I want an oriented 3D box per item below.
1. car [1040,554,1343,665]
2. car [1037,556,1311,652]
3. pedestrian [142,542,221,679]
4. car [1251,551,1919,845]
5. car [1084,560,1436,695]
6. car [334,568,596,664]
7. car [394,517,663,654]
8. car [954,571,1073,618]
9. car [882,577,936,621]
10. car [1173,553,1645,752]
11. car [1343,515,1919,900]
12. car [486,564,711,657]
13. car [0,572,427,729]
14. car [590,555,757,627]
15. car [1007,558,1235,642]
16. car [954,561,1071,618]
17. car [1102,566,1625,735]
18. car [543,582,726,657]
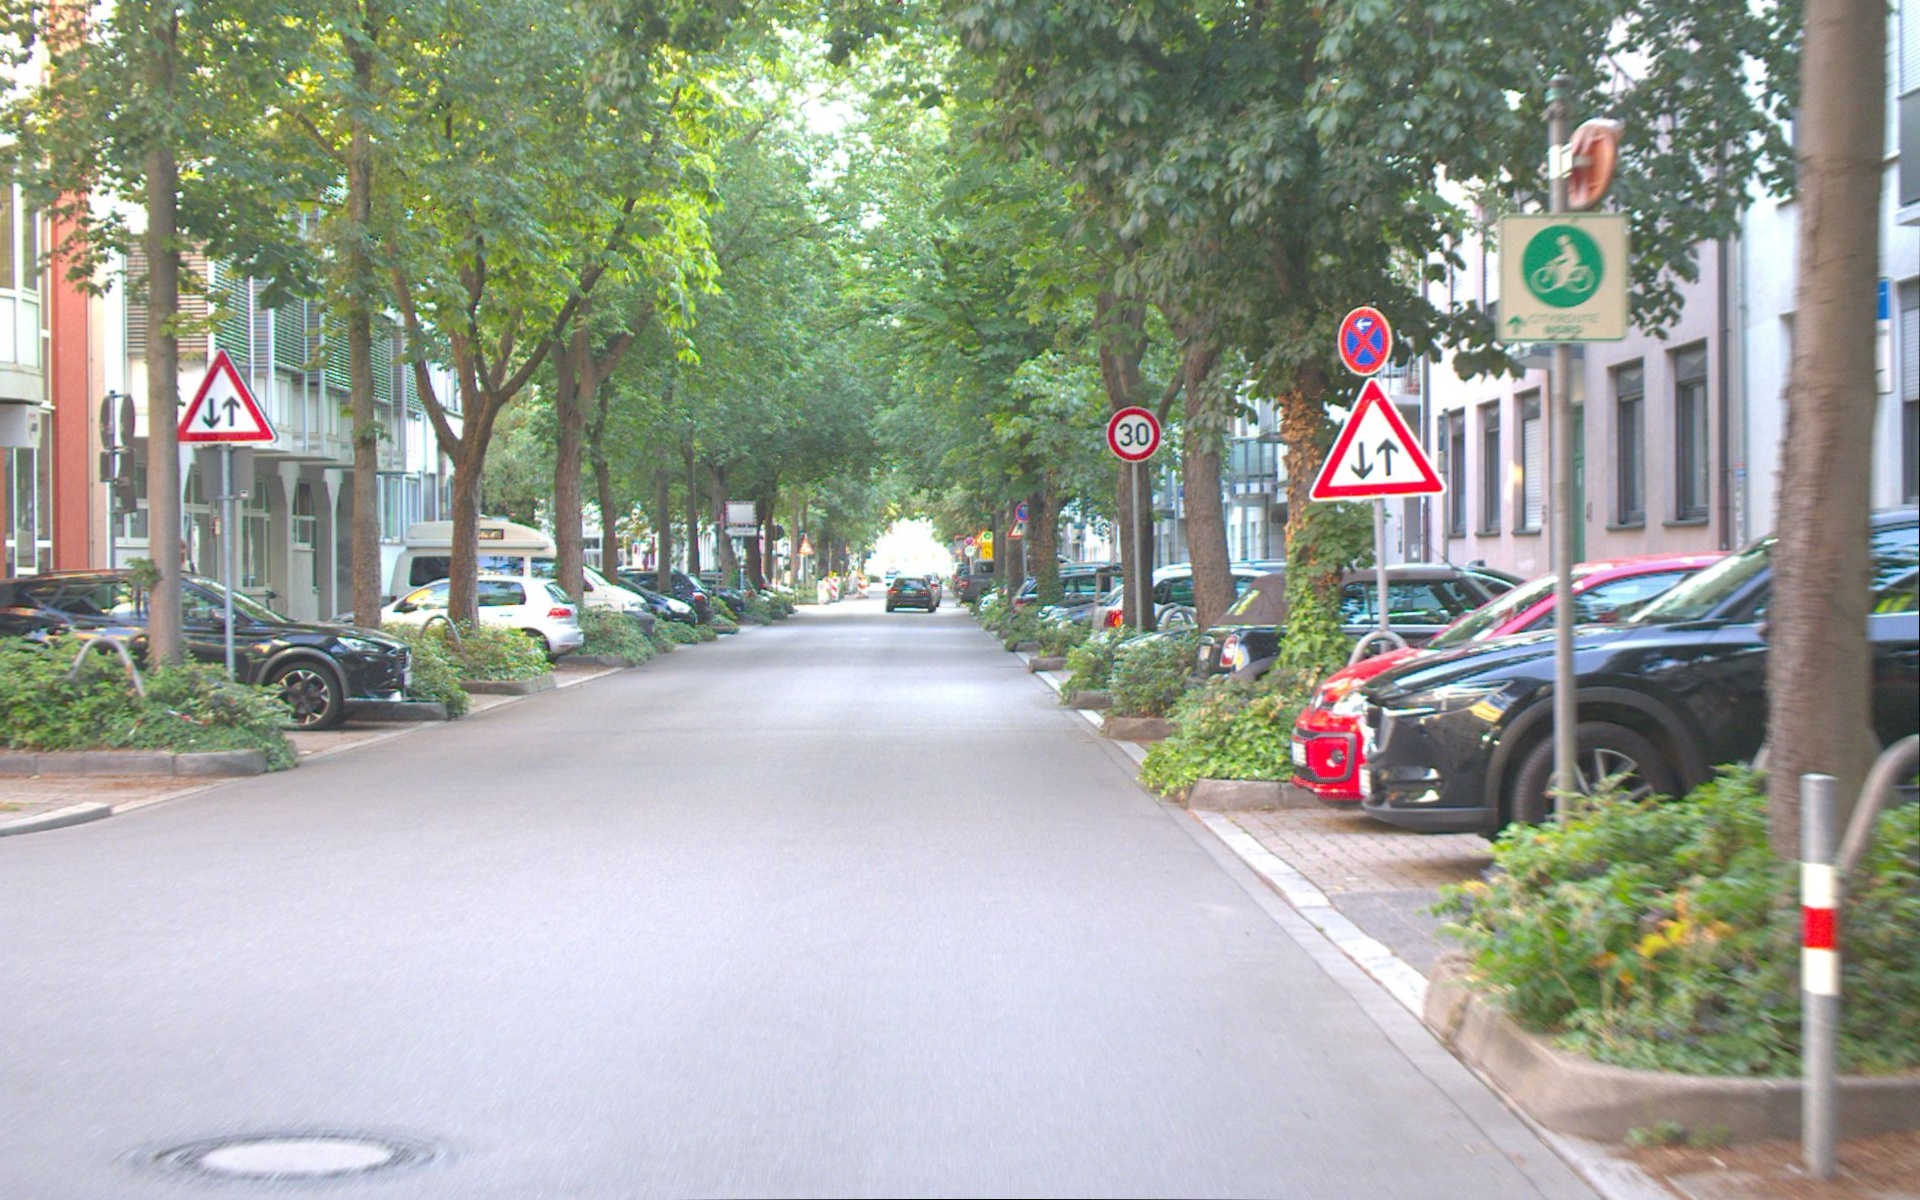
[{"bbox_3d":[3.633,0.138,54.587,4.717,1.704,1.950,0,1,1],"label":"car"},{"bbox_3d":[3.763,0.062,61.039,4.682,1.516,1.963,-2,0,0],"label":"car"},{"bbox_3d":[-10.085,0.130,44.557,0.704,1.751,0.739,0,0,23],"label":"pedestrian"},{"bbox_3d":[3.497,0.502,19.163,3.483,1.447,1.900,-2,1,-2],"label":"car"},{"bbox_3d":[3.507,0.305,40.611,3.876,1.435,1.848,-2,1,-3],"label":"car"},{"bbox_3d":[-7.834,0.241,54.617,3.871,1.481,1.757,0,0,1],"label":"car"},{"bbox_3d":[-7.874,-0.266,63.034,4.682,2.469,2.000,0,0,0],"label":"car"},{"bbox_3d":[1.933,-0.217,126.040,4.268,1.560,1.963,-2,0,0],"label":"car"},{"bbox_3d":[-1.901,-0.055,129.814,1.956,1.560,4.282,-2,0,0],"label":"car"},{"bbox_3d":[3.581,0.399,27.864,3.483,1.447,1.900,-2,1,-2],"label":"car"},{"bbox_3d":[4.100,0.442,15.999,4.426,1.650,1.899,-1,1,1],"label":"car"},{"bbox_3d":[-7.907,0.227,75.485,4.682,1.848,1.963,-2,0,0],"label":"car"},{"bbox_3d":[-7.441,0.475,33.778,4.127,1.481,1.929,0,0,-1],"label":"car"},{"bbox_3d":[-8.500,-0.269,102.356,4.762,1.977,1.963,-2,0,0],"label":"car"},{"bbox_3d":[3.274,-0.008,69.950,4.508,1.516,1.995,-2,0,3],"label":"car"},{"bbox_3d":[1.943,-0.386,128.892,4.268,1.955,1.963,-2,0,0],"label":"car"},{"bbox_3d":[3.783,0.457,32.869,4.711,1.416,2.036,-2,1,0],"label":"car"},{"bbox_3d":[-7.851,0.459,83.210,4.203,1.630,1.963,-2,0,0],"label":"car"}]
